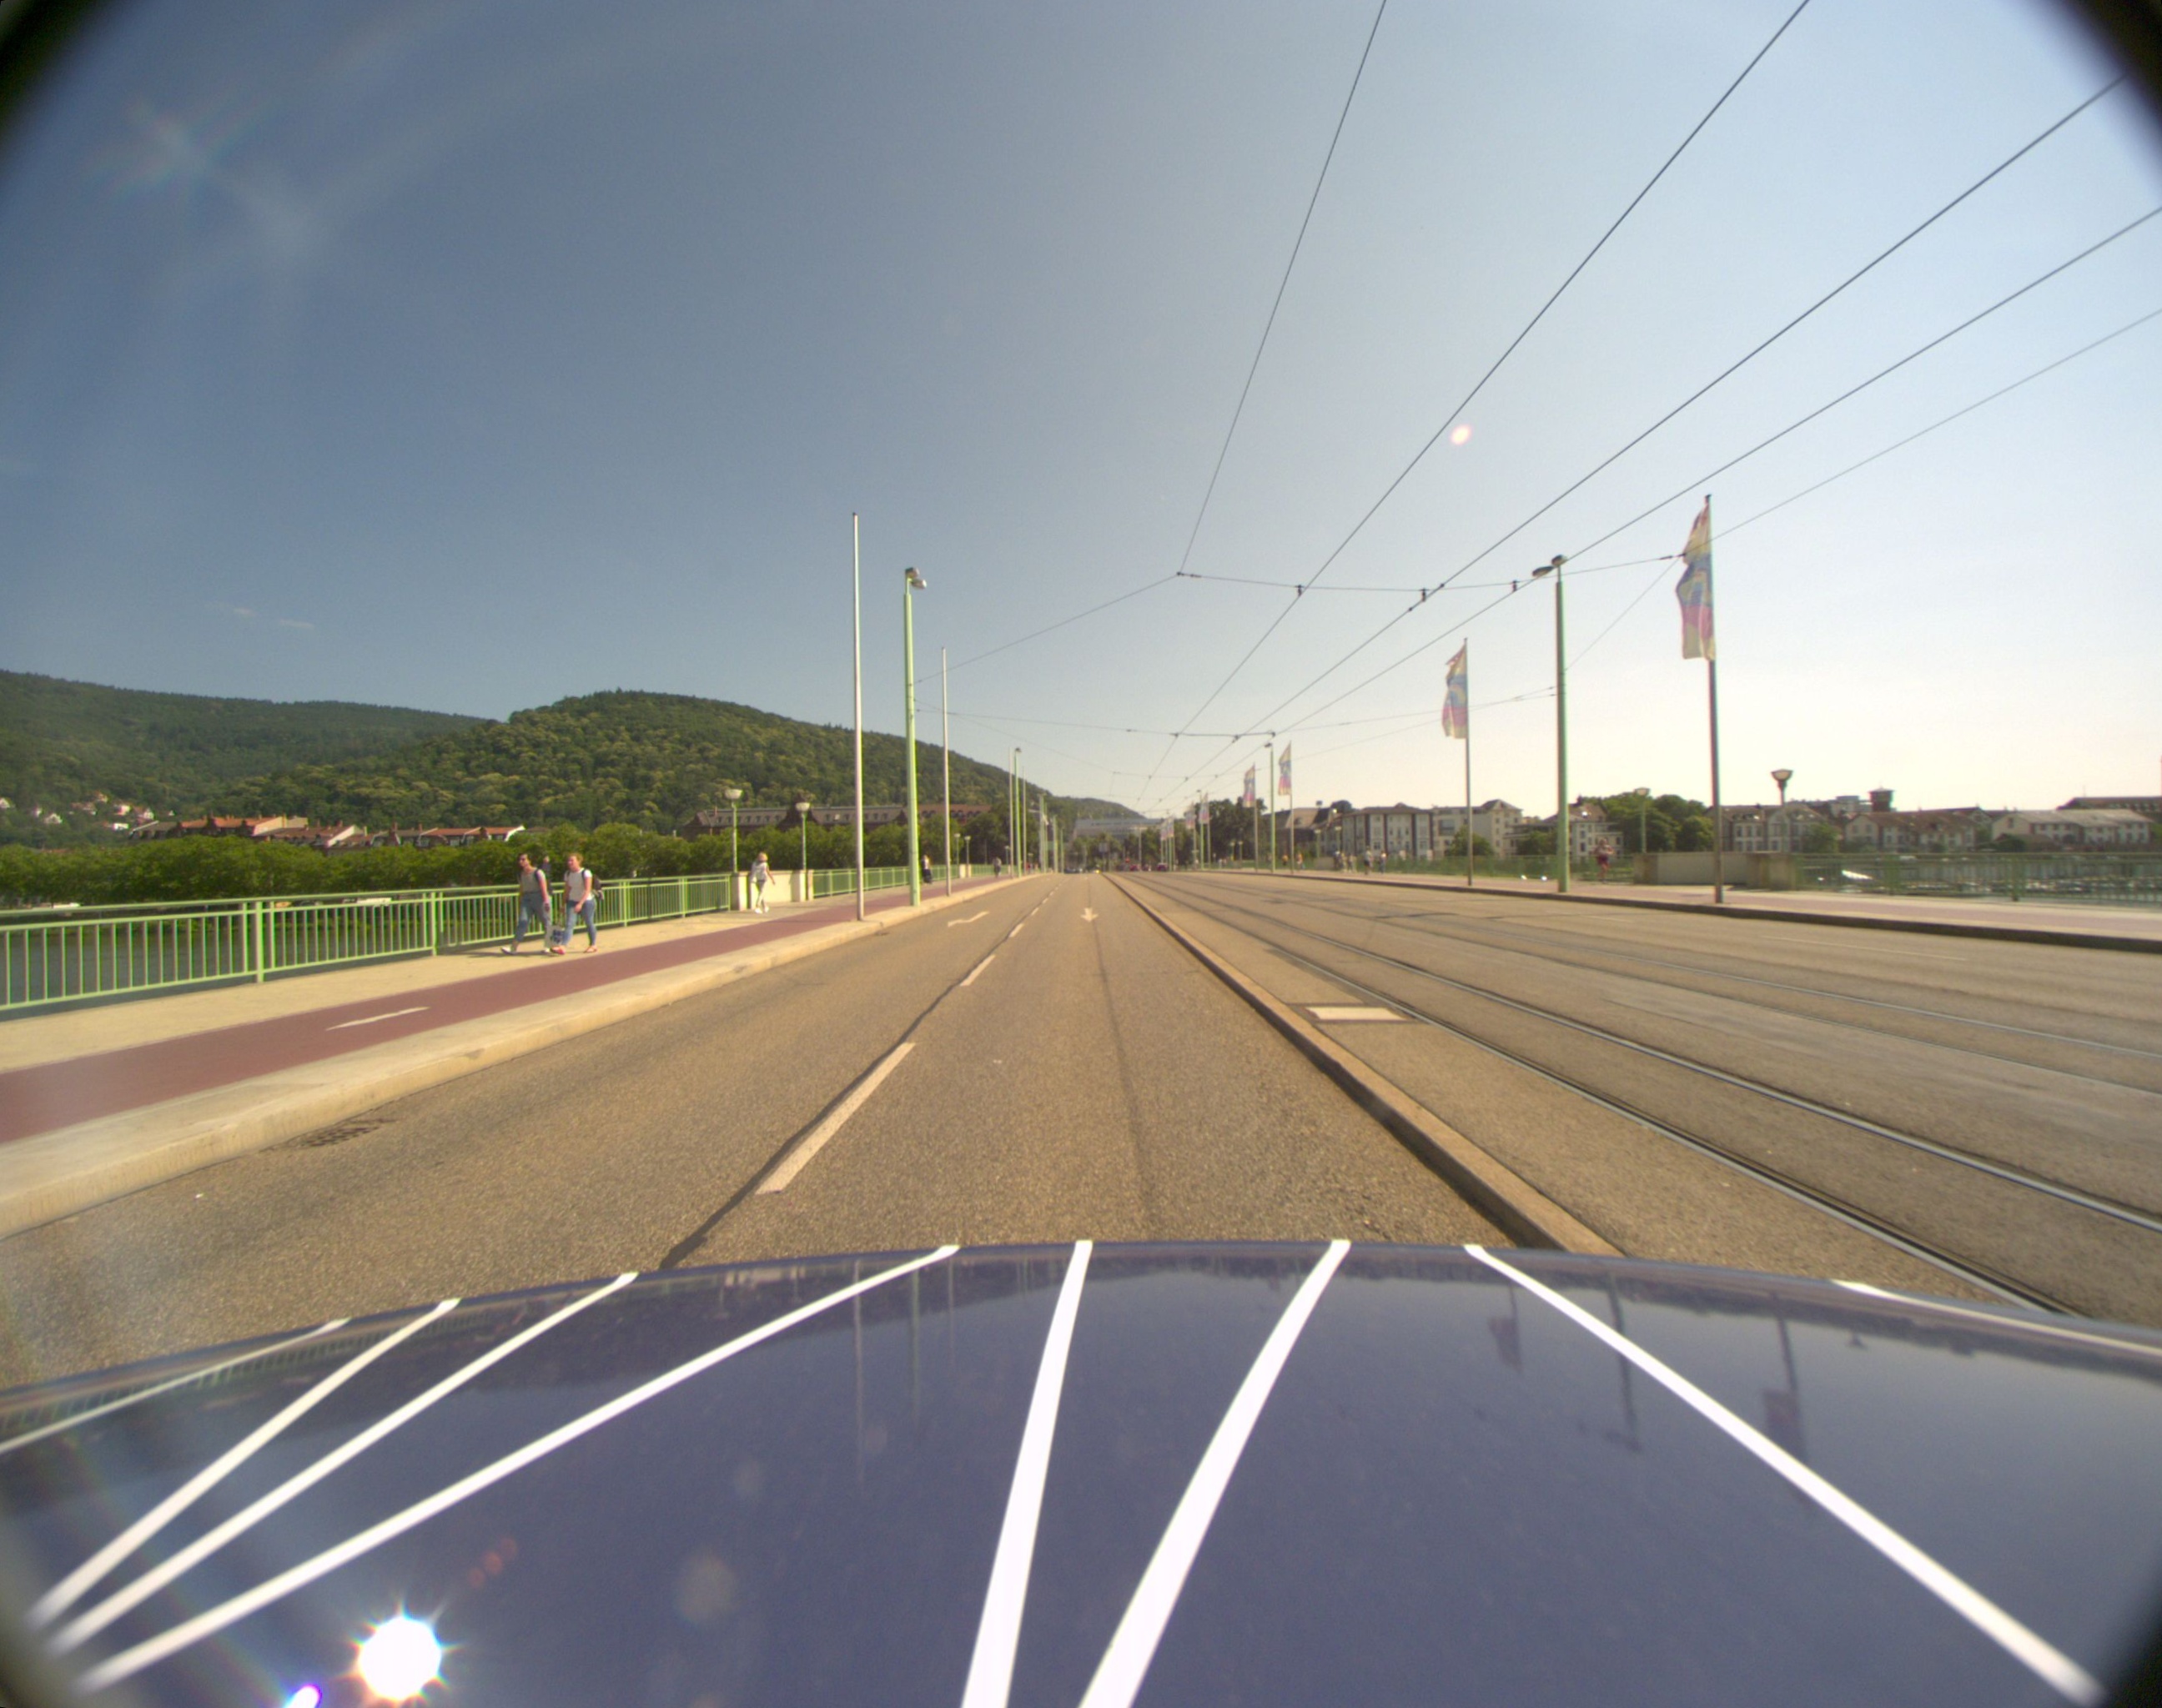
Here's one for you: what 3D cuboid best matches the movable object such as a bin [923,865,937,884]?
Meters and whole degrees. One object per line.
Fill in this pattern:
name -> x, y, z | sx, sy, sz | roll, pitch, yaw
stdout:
movable object such as a bin -> -8.880, 1.179, 44.693 | 0.583, 1.084, 0.933 | 0, 0, 0

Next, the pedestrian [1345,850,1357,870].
pedestrian -> 19.327, 0.426, 54.354 | 0.547, 1.429, 0.789 | -3, 1, 0

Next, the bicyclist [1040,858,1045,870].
bicyclist -> -5.611, 1.439, 110.580 | 0.587, 1.759, 0.672 | 0, 1, 1

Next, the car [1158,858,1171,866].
car -> 14.487, 1.350, 131.822 | 1.721, 1.446, 3.901 | 0, 0, 0

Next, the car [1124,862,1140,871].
car -> 13.156, 3.141, 196.318 | 3.997, 2.002, 2.000 | -6, 0, -2

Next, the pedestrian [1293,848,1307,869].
pedestrian -> 18.480, 0.385, 64.050 | 0.787, 1.690, 1.022 | -4, 1, 0

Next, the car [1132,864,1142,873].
car -> 11.721, 3.047, 157.845 | 1.714, 1.686, 4.000 | -5, 0, 1

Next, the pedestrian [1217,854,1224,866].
pedestrian -> 19.752, 0.831, 107.527 | 0.592, 1.690, 1.022 | -6, 0, 0

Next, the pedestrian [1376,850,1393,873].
pedestrian -> 19.162, 0.445, 48.043 | 0.592, 1.406, 1.022 | -3, 0, 0

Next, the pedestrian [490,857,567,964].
pedestrian -> -8.812, 0.873, 12.144 | 0.669, 1.649, 0.746 | 0, 1, 0

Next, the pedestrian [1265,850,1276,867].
pedestrian -> 18.956, 0.430, 76.130 | 0.787, 1.690, 1.022 | -4, 1, 0

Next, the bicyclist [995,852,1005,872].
bicyclist -> -6.778, 0.666, 63.620 | 0.731, 1.655, 0.844 | 1, 1, 1

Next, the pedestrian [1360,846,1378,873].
pedestrian -> 18.338, 0.338, 48.350 | 0.671, 1.690, 1.022 | -3, 1, 0

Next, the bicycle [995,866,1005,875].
bicycle -> -6.792, 1.368, 63.939 | 0.595, 0.761, 1.866 | 0, 0, 1

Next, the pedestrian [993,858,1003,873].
pedestrian -> -9.170, 1.220, 83.756 | 0.950, 1.653, 1.082 | 1, 0, 0

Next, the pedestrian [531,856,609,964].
pedestrian -> -8.094, 0.867, 12.067 | 0.664, 1.649, 0.825 | 0, 1, 0

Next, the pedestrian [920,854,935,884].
pedestrian -> -8.872, 0.851, 43.838 | 0.664, 1.696, 0.859 | 0, 1, 0

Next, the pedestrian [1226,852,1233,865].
pedestrian -> 21.000, 0.657, 107.419 | 0.592, 1.690, 0.905 | -6, 0, 0

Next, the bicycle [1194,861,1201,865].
bicycle -> 17.986, 1.391, 117.141 | 0.667, 0.712, 2.173 | -1, 0, 1

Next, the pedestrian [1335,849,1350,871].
pedestrian -> 18.705, 0.425, 54.334 | 0.627, 1.590, 1.022 | -3, 0, 0

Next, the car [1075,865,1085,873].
car -> -0.266, 3.153, 163.163 | 1.998, 1.379, 4.000 | -6, 0, 1

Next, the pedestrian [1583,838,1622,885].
pedestrian -> 19.460, 0.273, 28.366 | 0.686, 1.680, 1.022 | -3, 1, 0

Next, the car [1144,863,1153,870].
car -> 14.604, 2.786, 165.273 | 1.672, 1.428, 4.000 | -1, 1, 1

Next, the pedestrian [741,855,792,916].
pedestrian -> -8.734, 0.849, 21.139 | 0.950, 1.653, 1.082 | 0, 1, 0

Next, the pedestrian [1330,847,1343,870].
pedestrian -> 19.767, 0.346, 58.889 | 0.592, 1.690, 1.022 | -3, 1, 0
